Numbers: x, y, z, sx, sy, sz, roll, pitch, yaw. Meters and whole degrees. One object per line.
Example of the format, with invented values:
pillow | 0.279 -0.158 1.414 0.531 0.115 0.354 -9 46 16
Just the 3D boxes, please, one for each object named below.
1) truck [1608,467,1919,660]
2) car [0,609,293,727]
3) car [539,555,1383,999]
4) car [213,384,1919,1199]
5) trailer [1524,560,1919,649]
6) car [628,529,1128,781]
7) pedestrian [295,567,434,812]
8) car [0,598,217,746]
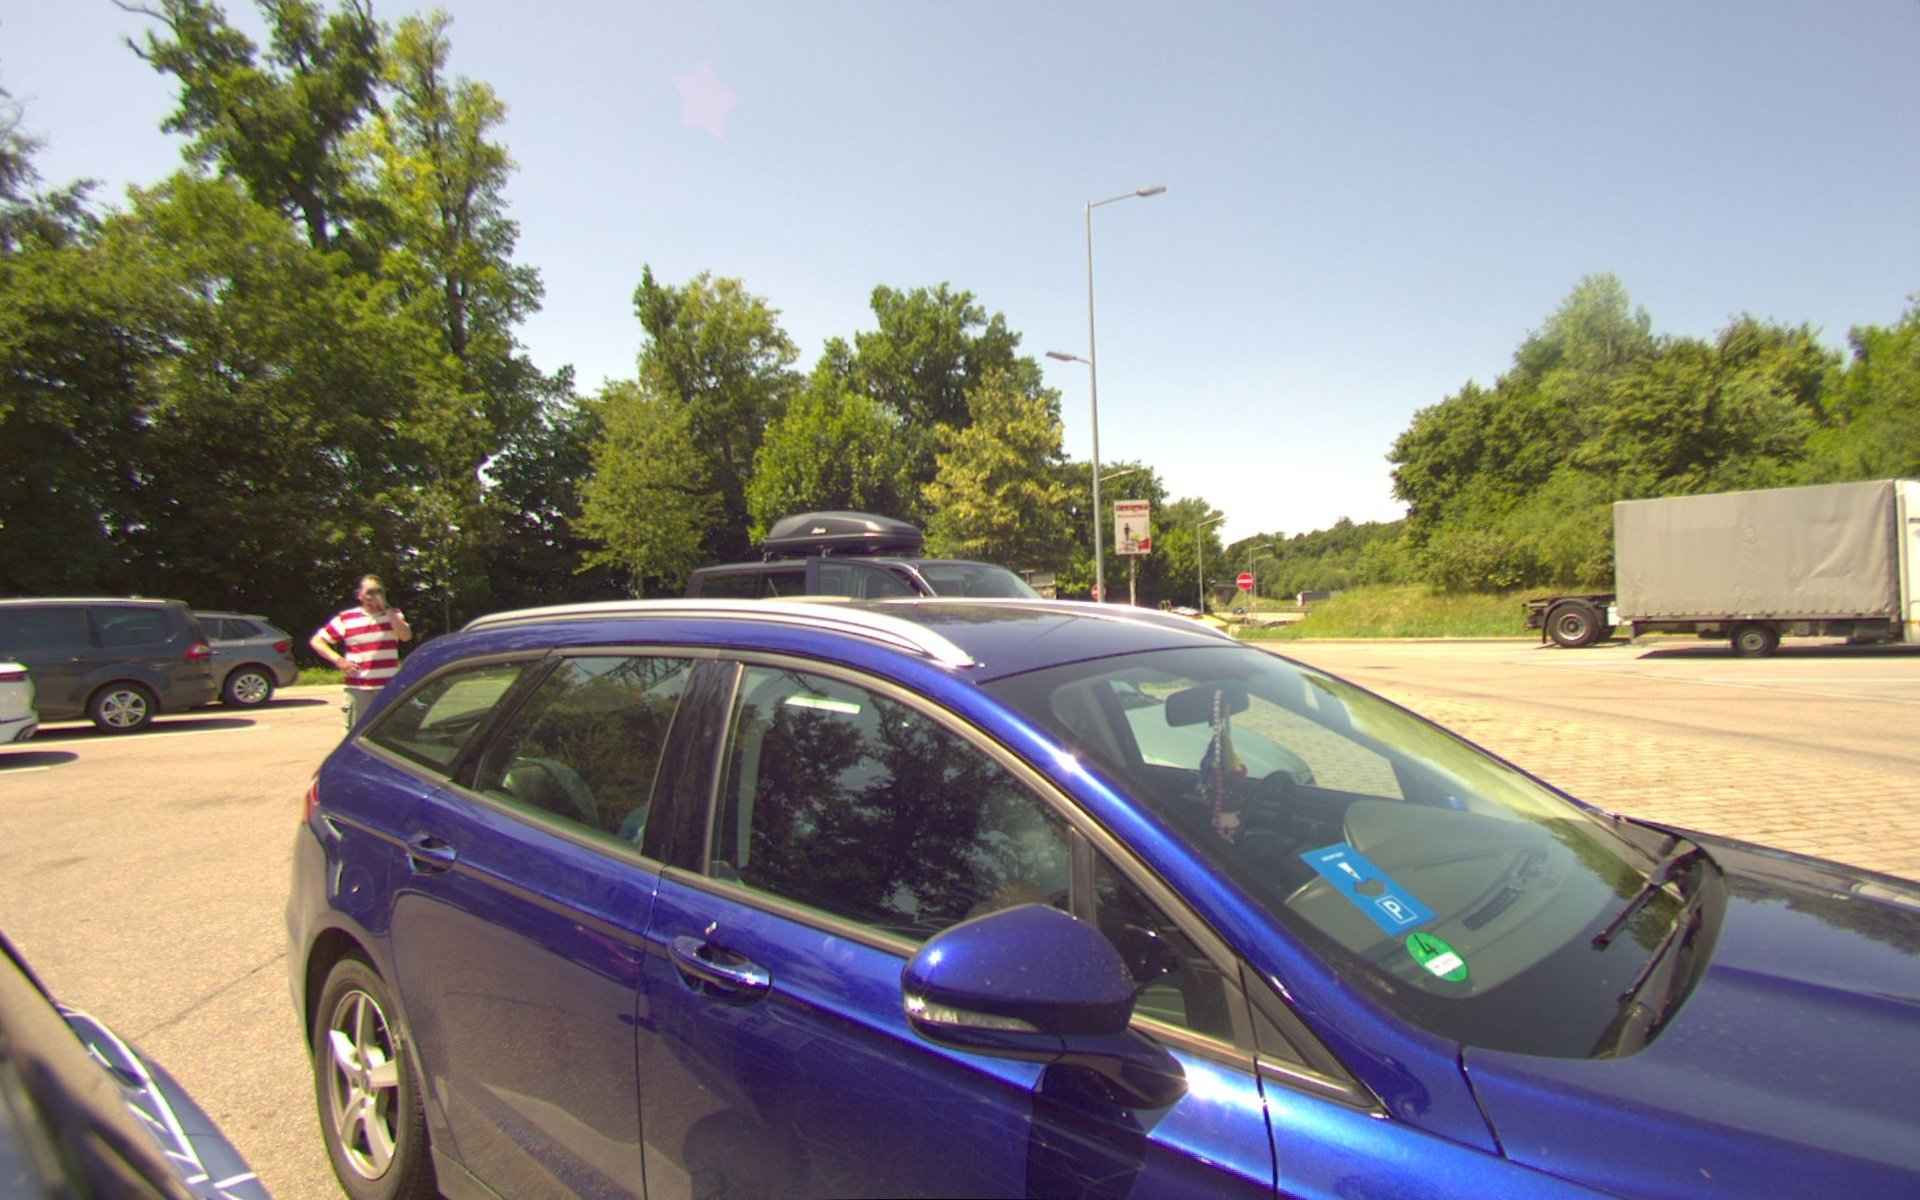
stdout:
truck | 16.773 -0.654 19.000 7.274 3.269 2.678 -4 -1 42
car | -12.630 0.966 15.641 3.767 1.572 1.654 -1 0 -38
car | -0.325 0.666 5.592 4.569 1.517 1.736 -3 0 40
car | 0.232 0.631 2.056 4.569 1.482 1.736 -3 0 40
trailer | 17.696 0.150 23.098 8.098 1.638 2.187 -4 -1 41
car | -0.897 0.494 9.641 4.558 1.912 1.740 -3 0 32
pedestrian | -4.627 0.647 7.865 0.785 1.767 0.744 -1 0 45
car | -11.637 0.862 12.634 3.767 1.708 1.654 -1 0 -38
